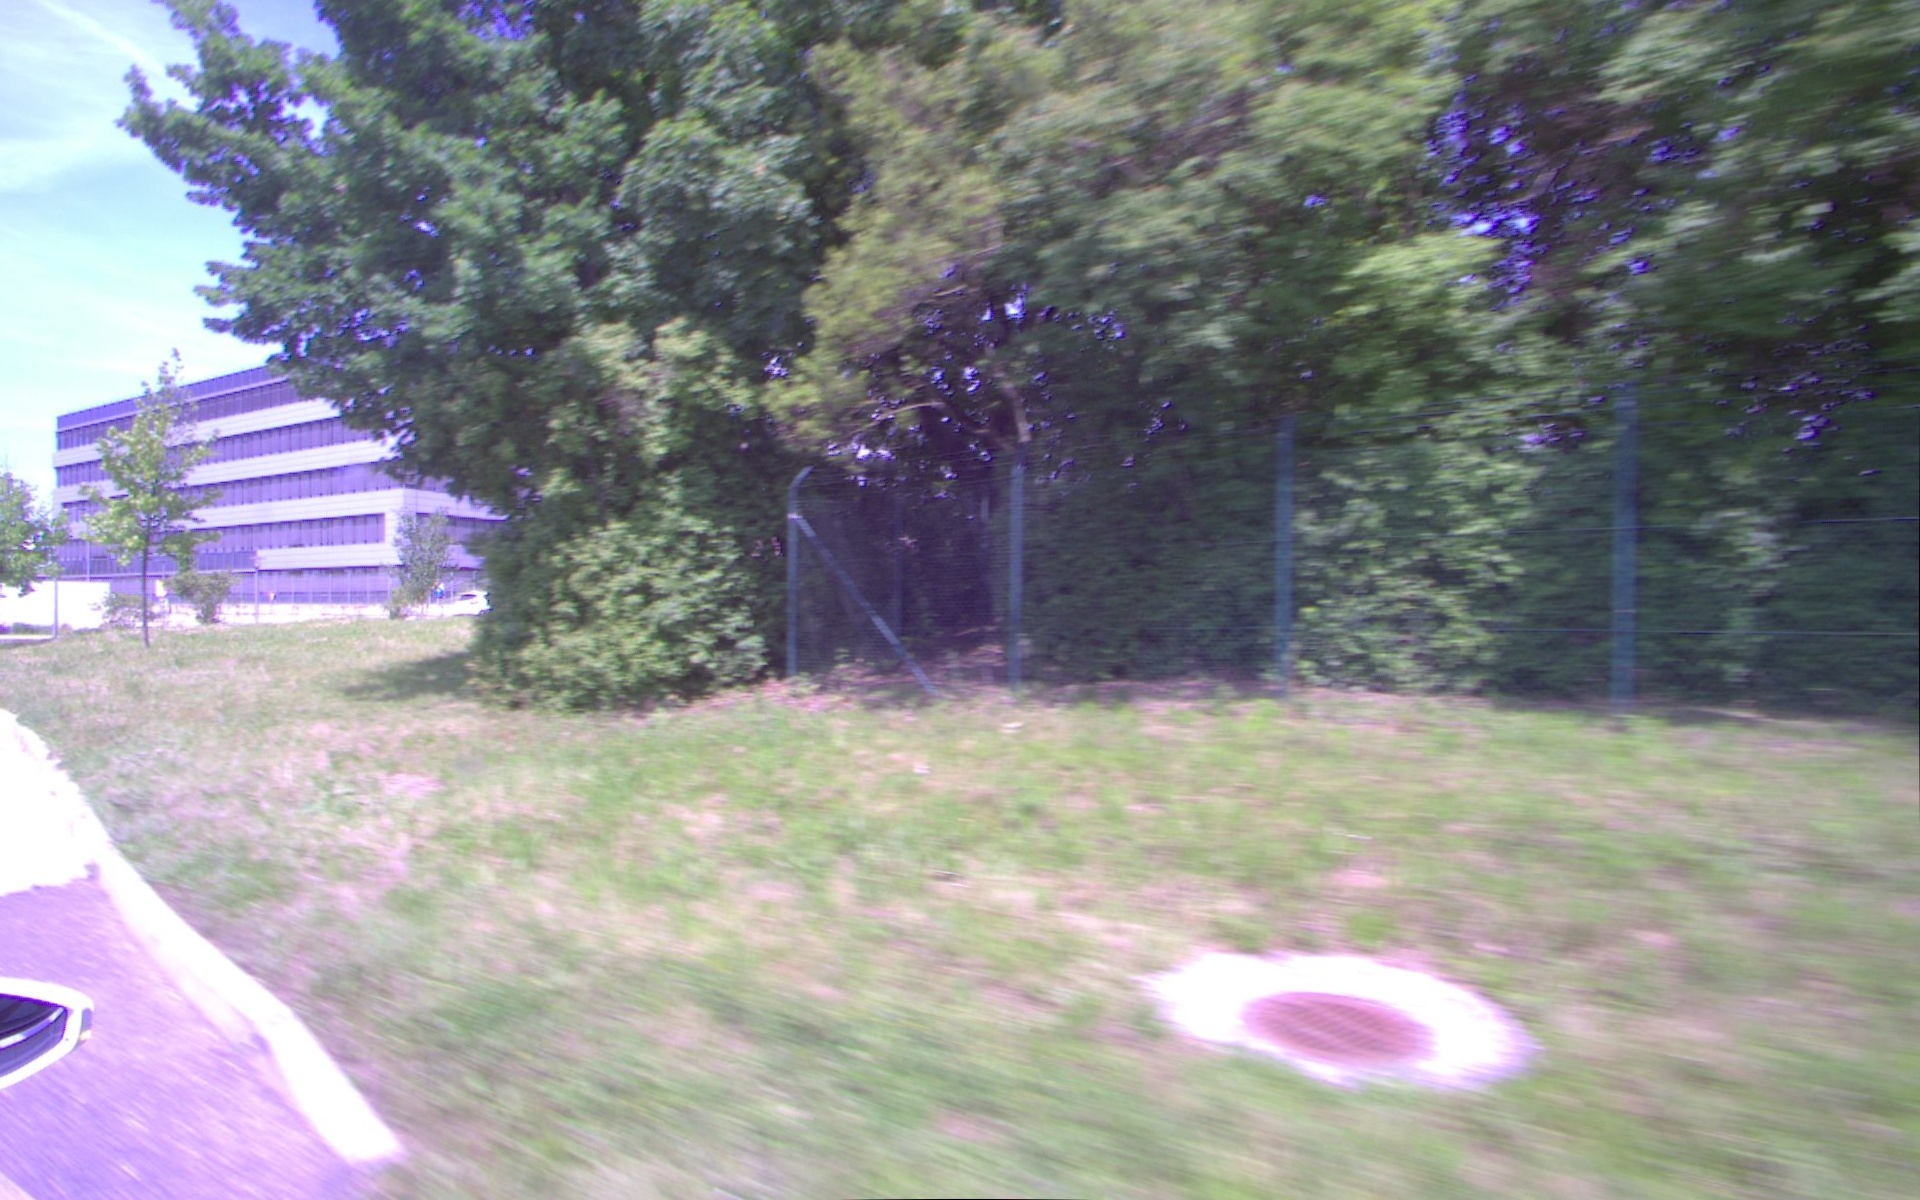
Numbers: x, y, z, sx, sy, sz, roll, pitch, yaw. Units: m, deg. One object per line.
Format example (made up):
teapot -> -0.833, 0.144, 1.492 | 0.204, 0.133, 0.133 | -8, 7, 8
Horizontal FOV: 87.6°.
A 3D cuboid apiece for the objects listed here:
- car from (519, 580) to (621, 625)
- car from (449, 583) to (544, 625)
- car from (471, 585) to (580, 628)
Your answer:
car -> -17.837, 0.094, 45.924 | 1.948, 1.839, 3.981 | -2, 2, 28
car -> -22.955, 0.179, 49.730 | 1.729, 1.839, 3.981 | -1, 2, 28
car -> -20.909, 0.264, 48.355 | 1.948, 1.790, 4.543 | -2, 2, 28
